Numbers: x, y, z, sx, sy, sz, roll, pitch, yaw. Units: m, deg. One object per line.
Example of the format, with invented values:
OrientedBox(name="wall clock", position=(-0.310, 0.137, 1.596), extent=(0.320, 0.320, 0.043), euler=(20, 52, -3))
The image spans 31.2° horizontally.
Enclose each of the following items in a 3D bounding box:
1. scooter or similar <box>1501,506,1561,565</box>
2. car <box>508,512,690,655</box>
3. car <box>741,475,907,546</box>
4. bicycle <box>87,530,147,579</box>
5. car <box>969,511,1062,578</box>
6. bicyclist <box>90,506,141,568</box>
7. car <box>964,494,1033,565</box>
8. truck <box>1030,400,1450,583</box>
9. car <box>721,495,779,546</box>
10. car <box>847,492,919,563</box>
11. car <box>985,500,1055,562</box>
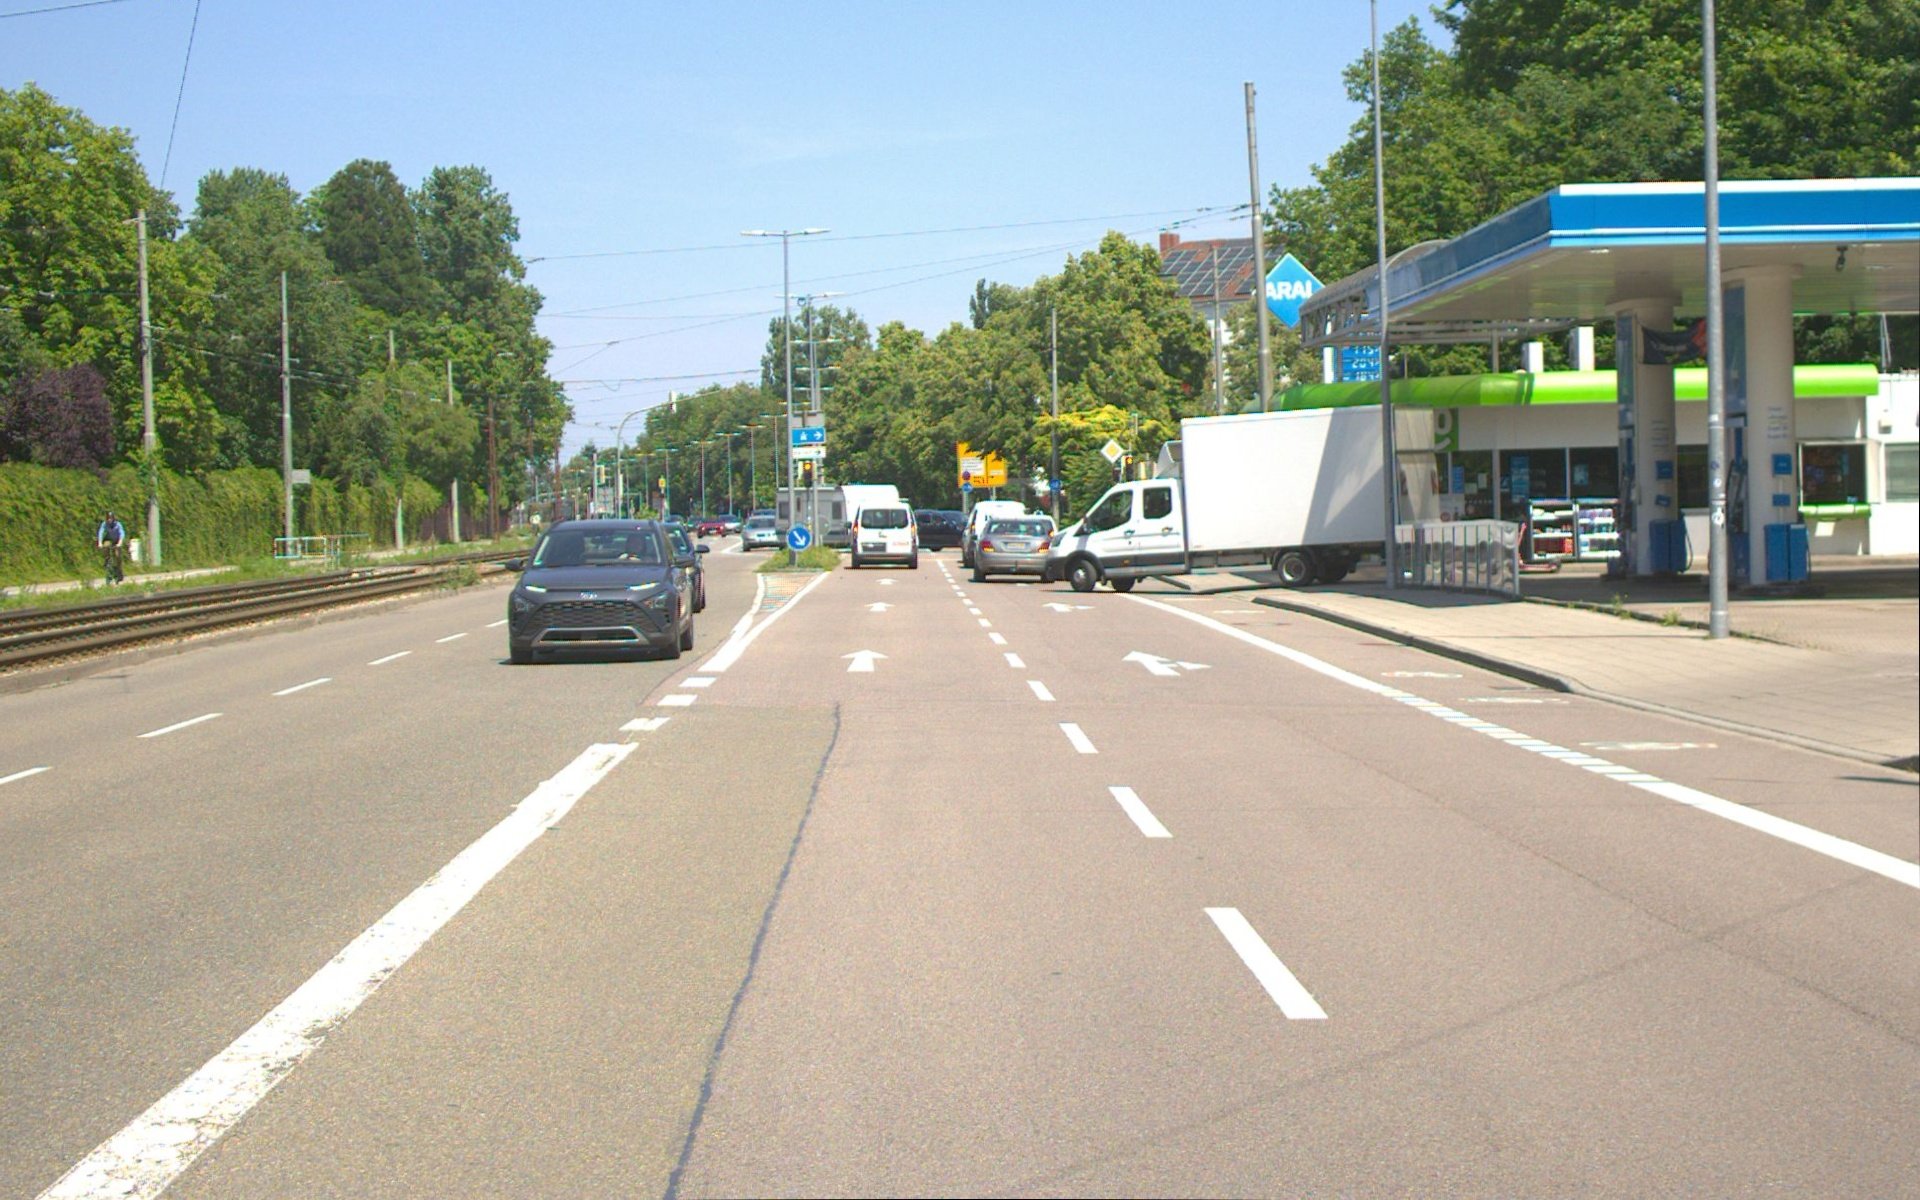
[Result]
OrientedBox(name="scooter or similar", position=(11.556, -1.309, 69.534), extent=(1.135, 1.172, 0.384), euler=(-1, 1, 0))
OrientedBox(name="car", position=(-3.825, -0.218, 36.975), extent=(1.713, 1.417, 4.142), euler=(-1, 2, -3))
OrientedBox(name="car", position=(-5.039, -3.279, 126.596), extent=(2.697, 2.508, 6.218), euler=(-2, 2, -43))
OrientedBox(name="bicycle", position=(-20.466, -1.120, 83.520), extent=(0.828, 1.152, 2.686), euler=(-1, 2, -1))
OrientedBox(name="car", position=(1.217, -1.262, 76.949), extent=(1.770, 1.415, 4.001), euler=(-1, 2, -3))
OrientedBox(name="bicyclist", position=(-20.465, -1.539, 83.343), extent=(0.994, 1.481, 1.000), euler=(-1, 1, -2))
OrientedBox(name="car", position=(1.014, -1.911, 92.726), extent=(1.710, 1.824, 4.014), euler=(-1, 2, -1))
OrientedBox(name="truck", position=(5.438, -2.087, 67.322), extent=(7.819, 3.380, 2.424), euler=(0, 2, 27))
OrientedBox(name="car", position=(-8.483, -3.231, 138.791), extent=(1.993, 2.006, 4.001), euler=(-1, 2, -8))
OrientedBox(name="car", position=(-2.066, -1.938, 91.589), extent=(1.866, 1.829, 3.849), euler=(1, 1, -2))
OrientedBox(name="car", position=(1.452, -1.698, 83.868), extent=(1.607, 1.446, 3.521), euler=(-1, 2, 0))
